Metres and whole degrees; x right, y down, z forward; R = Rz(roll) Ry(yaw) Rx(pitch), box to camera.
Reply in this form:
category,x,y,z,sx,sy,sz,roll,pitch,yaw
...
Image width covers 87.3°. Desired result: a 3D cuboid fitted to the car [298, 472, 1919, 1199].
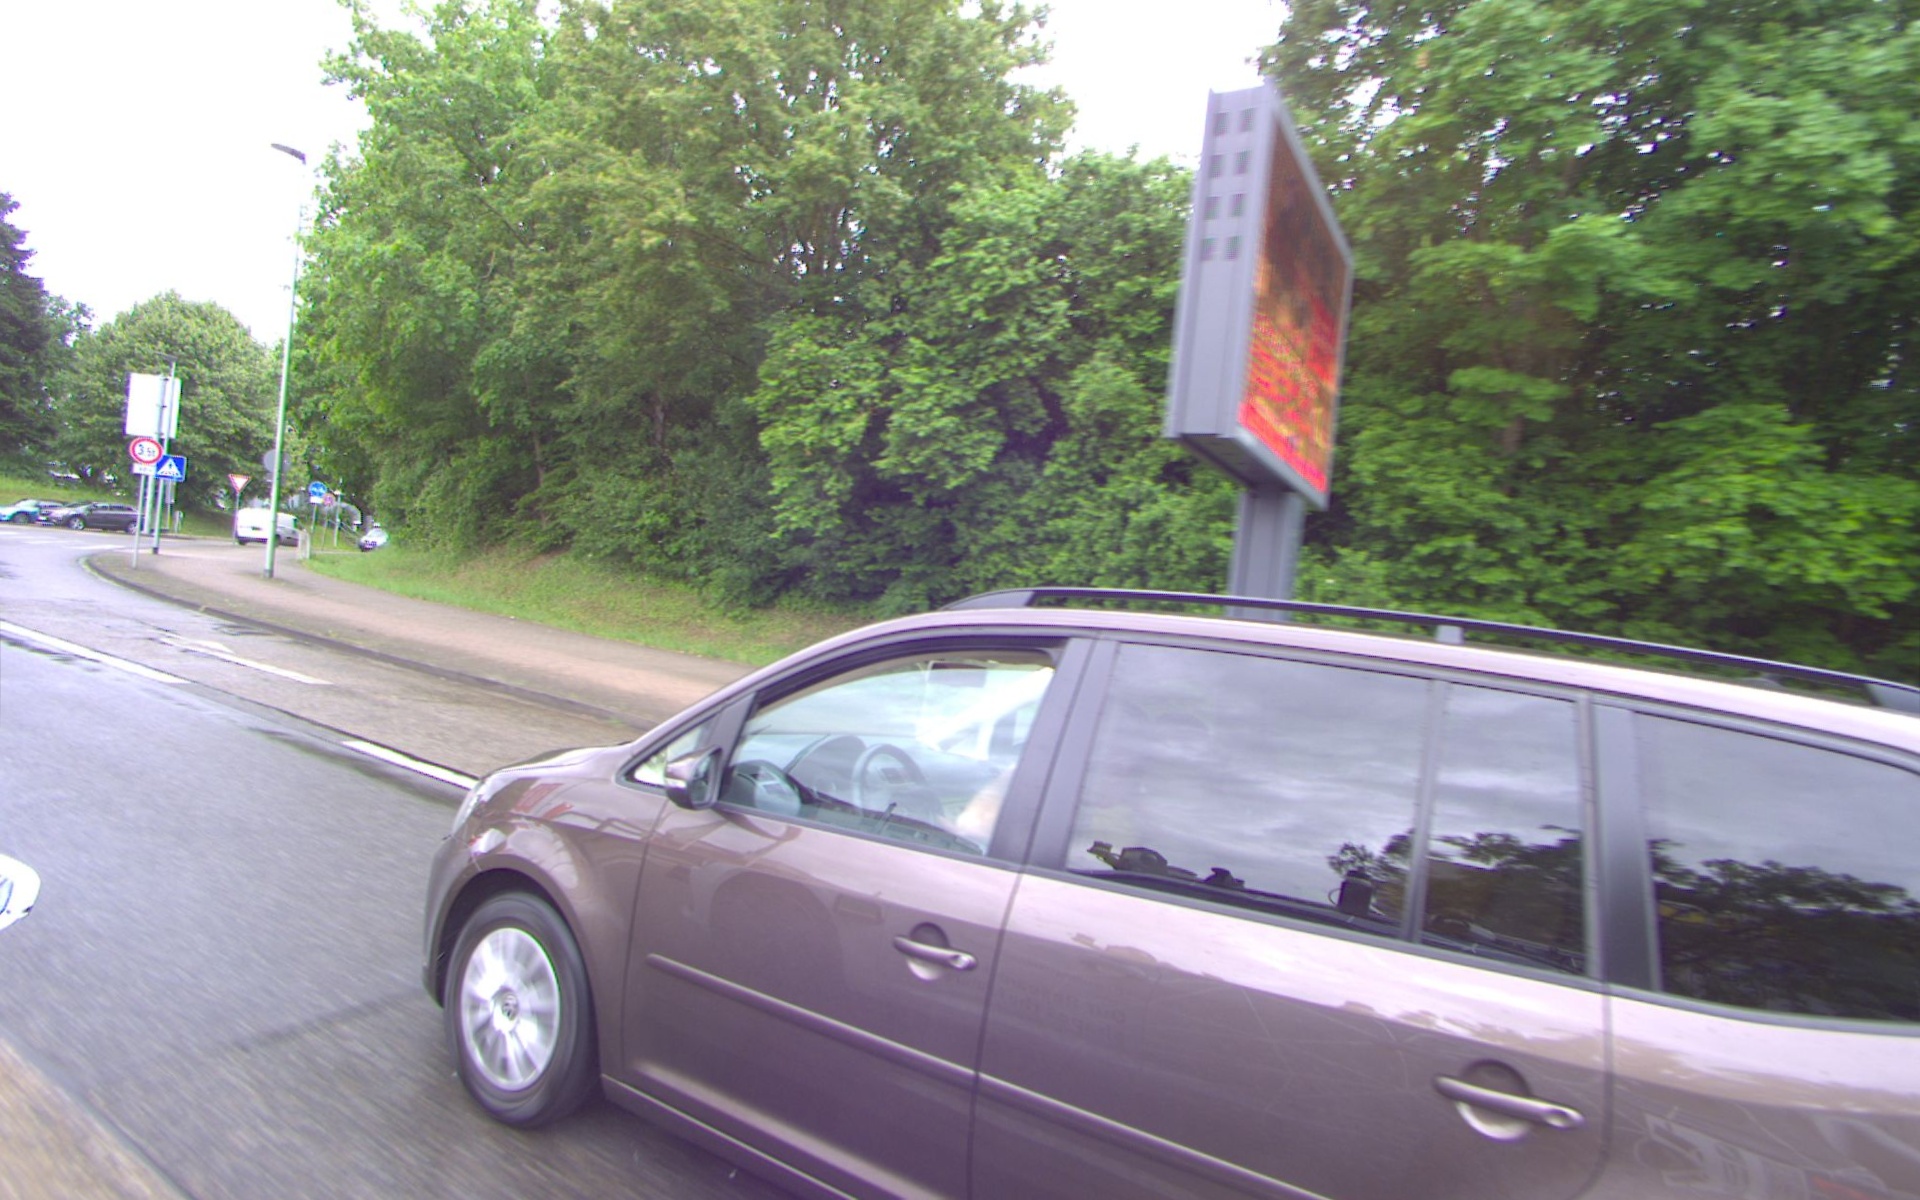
category,x,y,z,sx,sy,sz,roll,pitch,yaw
car,0.198,0.720,2.869,4.060,1.616,1.717,8,0,30

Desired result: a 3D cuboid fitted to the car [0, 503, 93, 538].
category,x,y,z,sx,sy,sz,roll,pitch,yaw
car,-46.144,-3.989,50.292,1.578,1.310,4.000,8,1,13

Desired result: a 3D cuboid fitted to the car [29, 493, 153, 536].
category,x,y,z,sx,sy,sz,roll,pitch,yaw
car,-43.005,-4.197,49.908,1.864,1.485,4.332,7,0,13

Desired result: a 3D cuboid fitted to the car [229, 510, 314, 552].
category,x,y,z,sx,sy,sz,roll,pitch,yaw
car,-35.926,-3.560,52.619,1.788,1.729,3.941,8,0,-5

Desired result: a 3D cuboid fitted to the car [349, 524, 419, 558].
category,x,y,z,sx,sy,sz,roll,pitch,yaw
car,-41.678,-4.214,72.921,1.865,1.874,4.743,8,0,4
